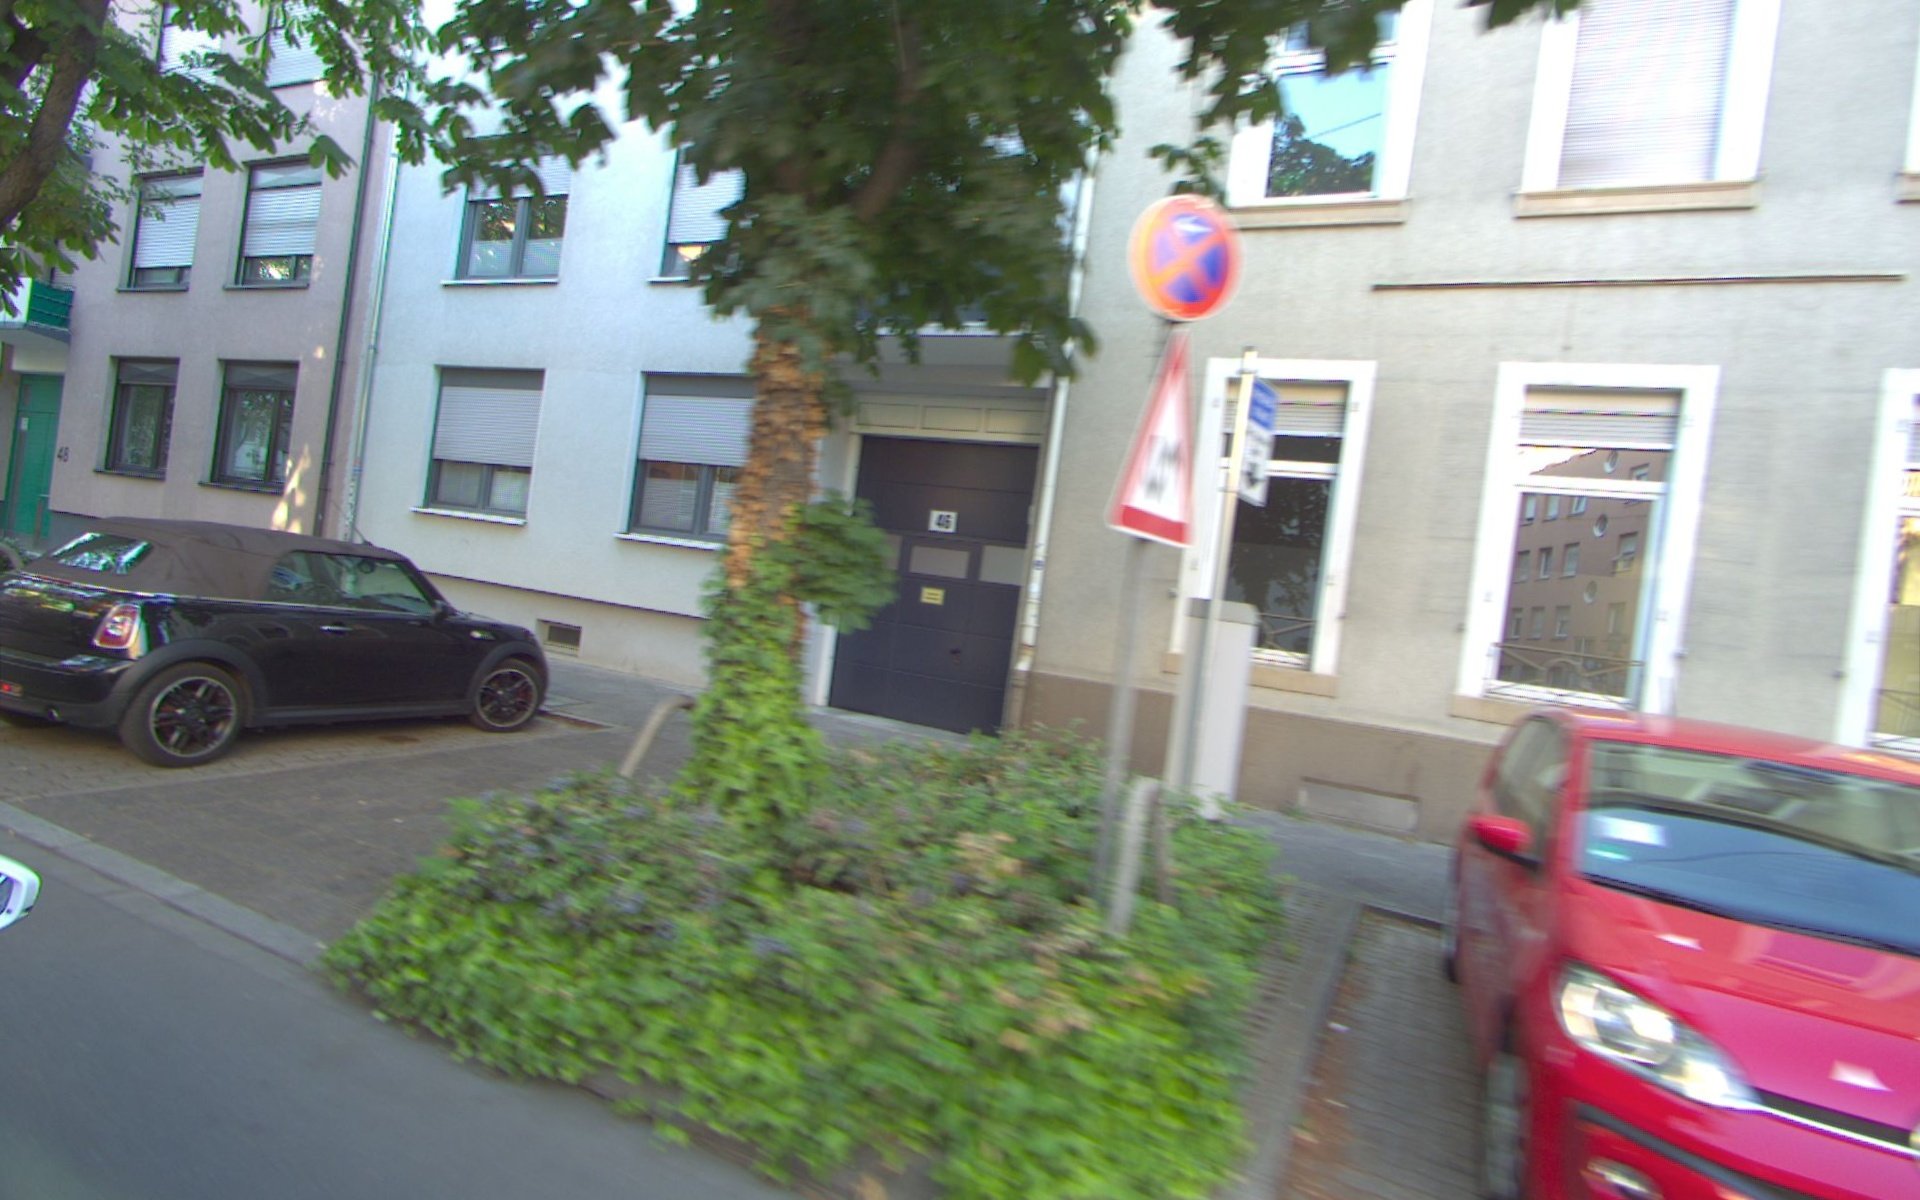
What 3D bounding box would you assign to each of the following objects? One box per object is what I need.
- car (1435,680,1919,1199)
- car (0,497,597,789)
[{"bbox_3d":[2.700,1.173,3.578,1.537,1.494,3.666,8,0,24],"label":"car"},{"bbox_3d":[-4.626,0.222,7.302,1.597,1.446,3.711,8,2,21],"label":"car"}]
